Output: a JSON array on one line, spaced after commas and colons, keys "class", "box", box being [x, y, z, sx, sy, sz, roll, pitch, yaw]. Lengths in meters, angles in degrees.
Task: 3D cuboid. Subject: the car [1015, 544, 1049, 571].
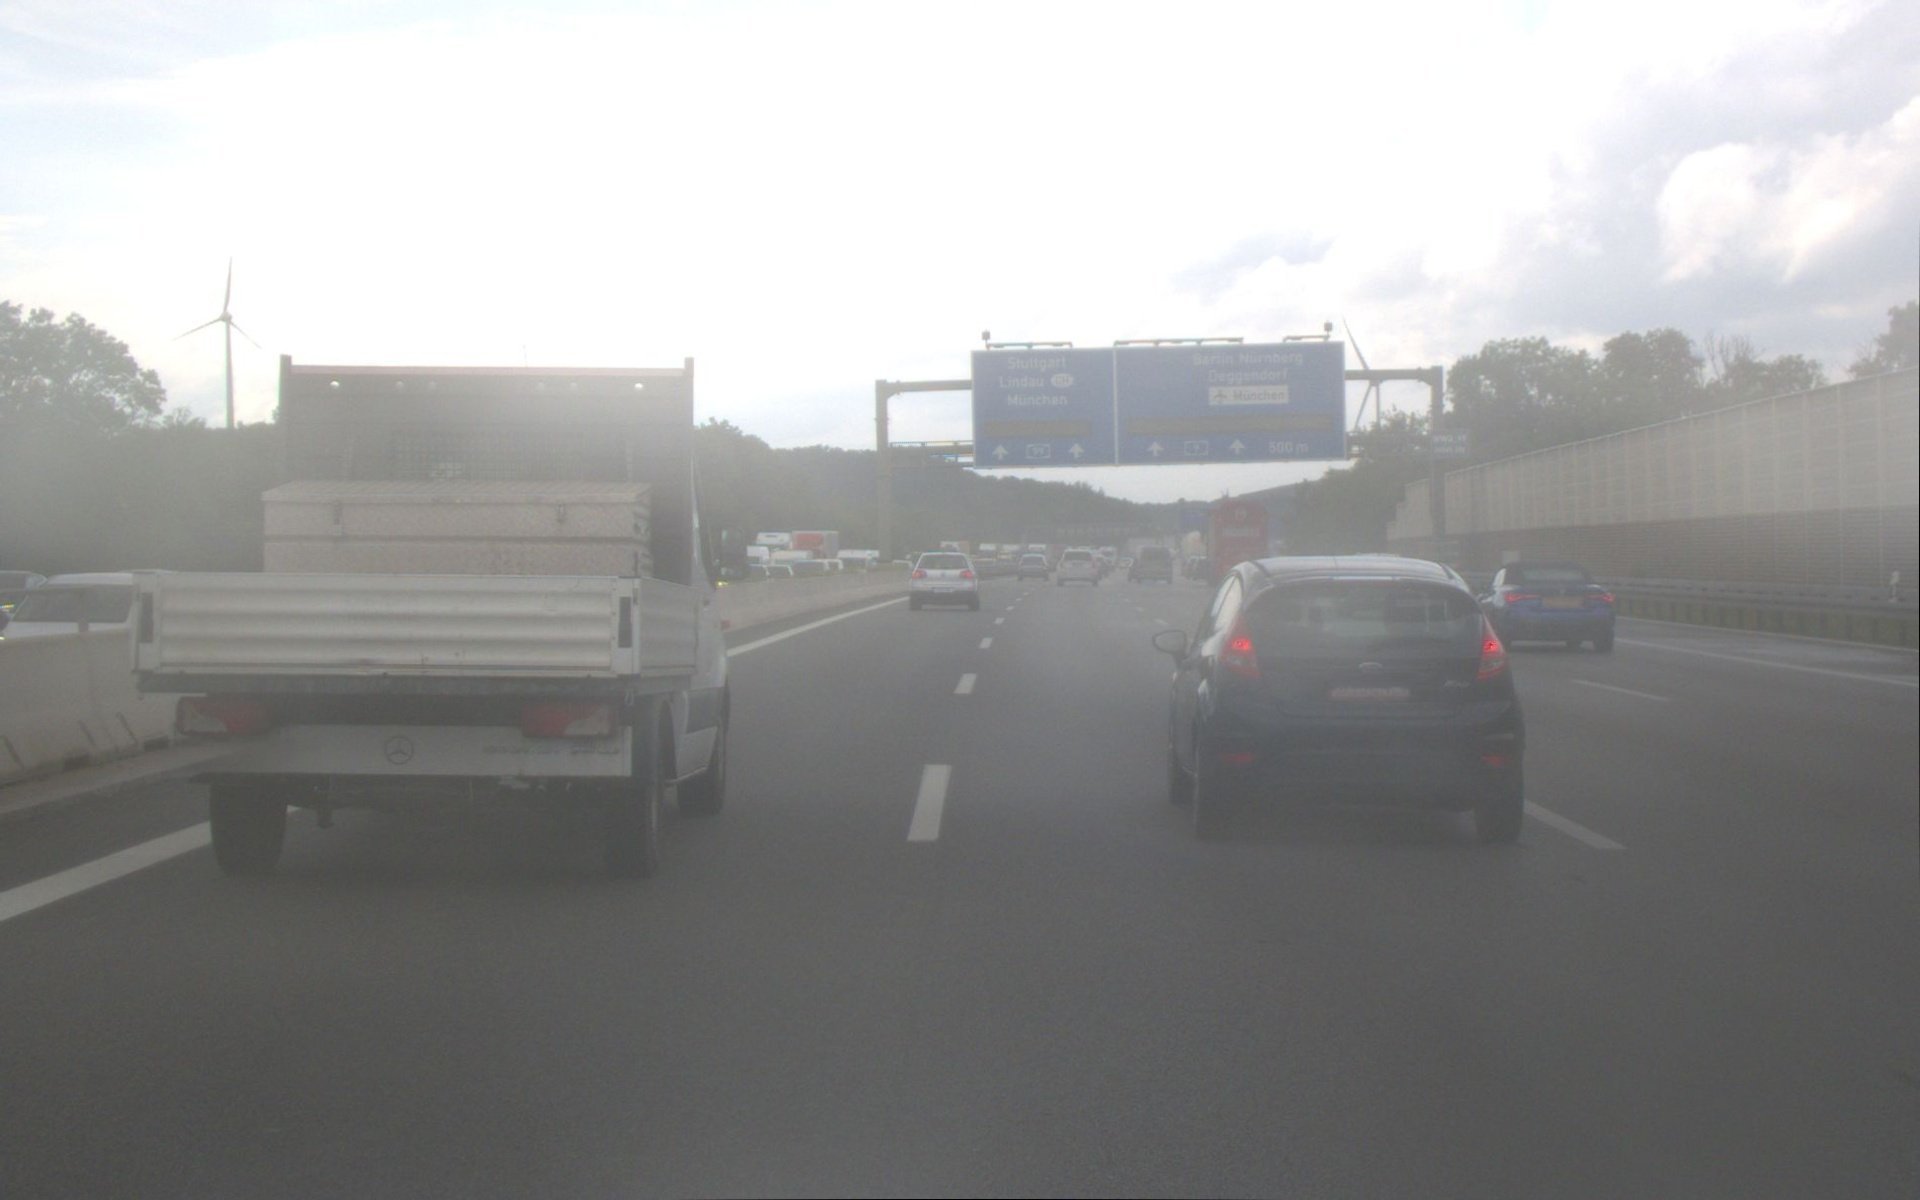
[{"class": "car", "box": [4.359, -2.582, 208.993, 1.968, 1.555, 4.433, -1, 1, 0]}]

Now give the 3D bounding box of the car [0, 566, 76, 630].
[{"class": "car", "box": [-22.304, -0.069, 80.853, 1.723, 1.423, 4.519, 1, 1, 2]}]

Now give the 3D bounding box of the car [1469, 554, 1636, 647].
[{"class": "car", "box": [9.317, -0.021, 54.355, 1.950, 1.413, 4.232, 0, 1, 1]}]

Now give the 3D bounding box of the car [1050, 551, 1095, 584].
[{"class": "car", "box": [5.392, -1.573, 165.408, 1.968, 1.555, 4.433, -1, 1, 0]}]

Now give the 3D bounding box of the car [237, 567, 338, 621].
[{"class": "car", "box": [-18.405, -0.181, 94.222, 1.723, 1.423, 4.519, 1, 1, 2]}]

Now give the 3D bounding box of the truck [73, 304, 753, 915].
[{"class": "truck", "box": [-2.401, -0.061, 17.311, 2.307, 2.431, 7.149, 0, 2, 0]}]

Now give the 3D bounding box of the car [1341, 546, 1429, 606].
[{"class": "car", "box": [11.201, -0.641, 90.854, 1.882, 1.537, 4.433, -1, 1, 2]}]

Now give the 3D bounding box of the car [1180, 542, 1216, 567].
[{"class": "car", "box": [15.400, -2.946, 222.477, 1.968, 1.555, 4.433, -1, 1, 0]}]

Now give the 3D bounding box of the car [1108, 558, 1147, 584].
[{"class": "car", "box": [10.052, -1.747, 206.590, 1.968, 1.555, 4.433, -1, 1, -1]}]

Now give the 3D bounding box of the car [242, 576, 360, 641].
[{"class": "car", "box": [-15.253, 0.176, 79.783, 1.723, 1.423, 4.519, 1, 1, 2]}]

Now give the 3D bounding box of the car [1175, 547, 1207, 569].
[{"class": "car", "box": [16.569, -3.020, 246.570, 1.968, 1.555, 4.433, -1, 1, 0]}]

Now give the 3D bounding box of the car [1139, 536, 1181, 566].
[{"class": "car", "box": [10.698, -2.638, 184.006, 1.968, 1.555, 4.433, -1, 1, 0]}]

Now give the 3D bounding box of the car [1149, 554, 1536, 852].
[{"class": "car", "box": [1.977, 0.474, 18.866, 1.717, 1.412, 4.278, 0, 1, 1]}]

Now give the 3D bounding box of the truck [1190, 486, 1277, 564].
[{"class": "truck", "box": [13.193, -3.670, 166.867, 3.152, 3.589, 12.700, 1, 1, 0]}]

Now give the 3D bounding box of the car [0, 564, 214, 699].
[{"class": "car", "box": [-11.243, 0.368, 45.140, 1.723, 1.640, 4.998, 1, 1, 1]}]

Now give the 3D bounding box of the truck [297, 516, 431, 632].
[{"class": "truck", "box": [-21.400, -0.974, 124.034, 2.915, 4.000, 9.583, 0, 1, 2]}]

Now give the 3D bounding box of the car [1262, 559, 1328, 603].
[{"class": "car", "box": [11.983, -0.688, 123.170, 1.882, 1.555, 4.433, -1, 1, 0]}]

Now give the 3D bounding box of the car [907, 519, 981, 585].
[{"class": "car", "box": [-0.389, -1.259, 88.160, 1.717, 1.618, 4.278, 0, 2, 2]}]
